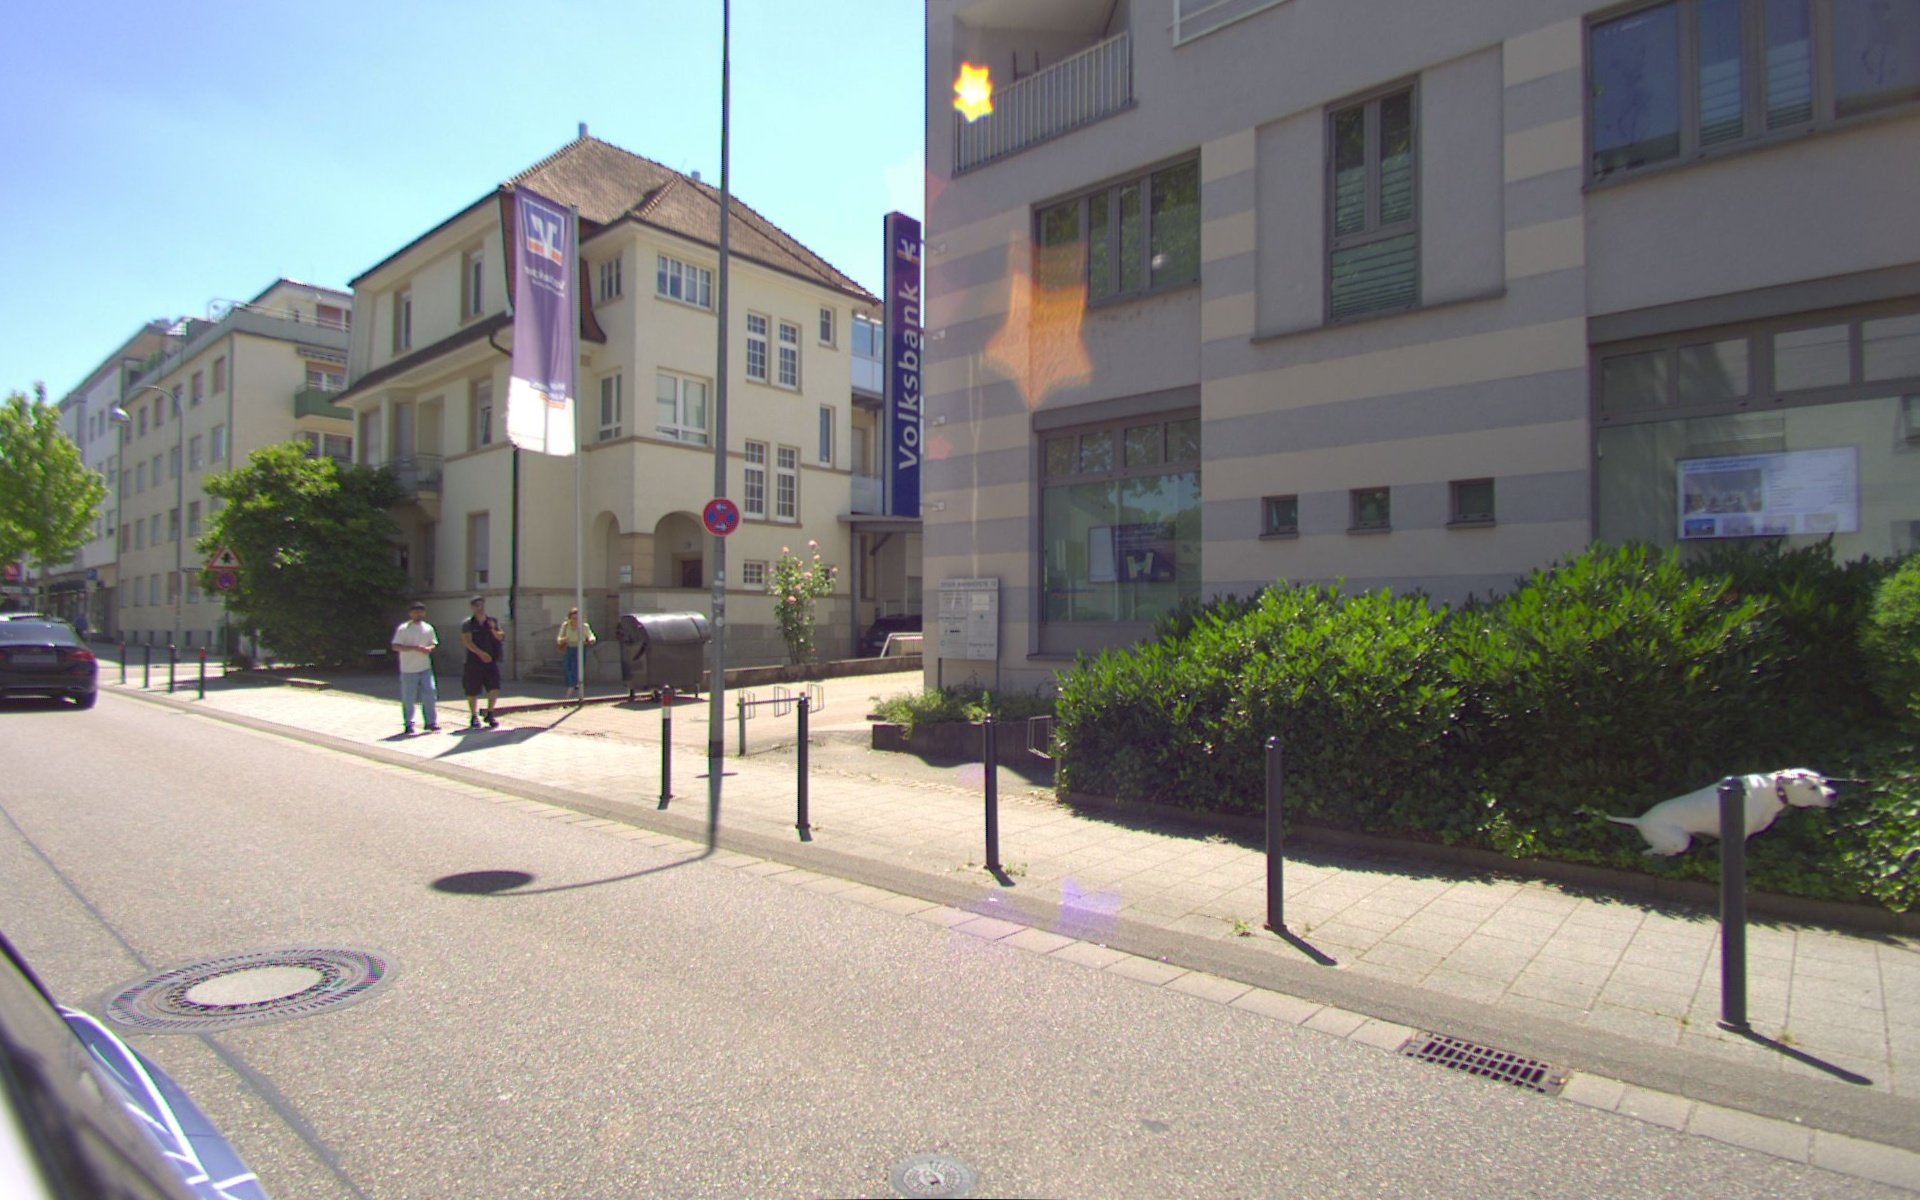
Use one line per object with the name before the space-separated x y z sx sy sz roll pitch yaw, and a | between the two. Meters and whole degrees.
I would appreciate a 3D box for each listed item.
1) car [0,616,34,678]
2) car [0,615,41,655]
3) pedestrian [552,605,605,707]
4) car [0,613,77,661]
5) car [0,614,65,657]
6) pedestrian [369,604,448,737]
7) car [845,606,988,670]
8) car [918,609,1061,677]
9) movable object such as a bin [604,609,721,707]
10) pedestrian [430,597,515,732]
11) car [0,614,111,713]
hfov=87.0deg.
car | -25.577 1.183 26.254 4.029 1.522 1.810 -1 -3 41
car | -42.885 1.551 45.591 4.292 1.683 1.709 -1 -1 41
pedestrian | -6.474 0.931 17.192 0.734 1.687 0.534 -1 -2 40
car | -34.450 1.354 37.751 4.292 1.683 1.709 -1 -1 41
car | -38.774 1.437 42.099 4.291 1.683 1.710 -1 -1 40
pedestrian | -7.344 0.903 13.463 0.903 1.689 0.614 -1 0 40
car | -1.159 1.013 28.282 1.794 1.592 3.824 -2 -1 43
car | 0.844 1.073 26.701 1.793 1.592 3.828 -1 0 40
movable object such as a bin | -4.984 0.936 16.963 1.294 1.499 1.372 -1 1 41
pedestrian | -6.758 0.870 14.036 0.950 1.784 0.740 -1 -2 40
car | -16.184 1.026 17.345 4.260 1.522 1.810 -1 -3 41
